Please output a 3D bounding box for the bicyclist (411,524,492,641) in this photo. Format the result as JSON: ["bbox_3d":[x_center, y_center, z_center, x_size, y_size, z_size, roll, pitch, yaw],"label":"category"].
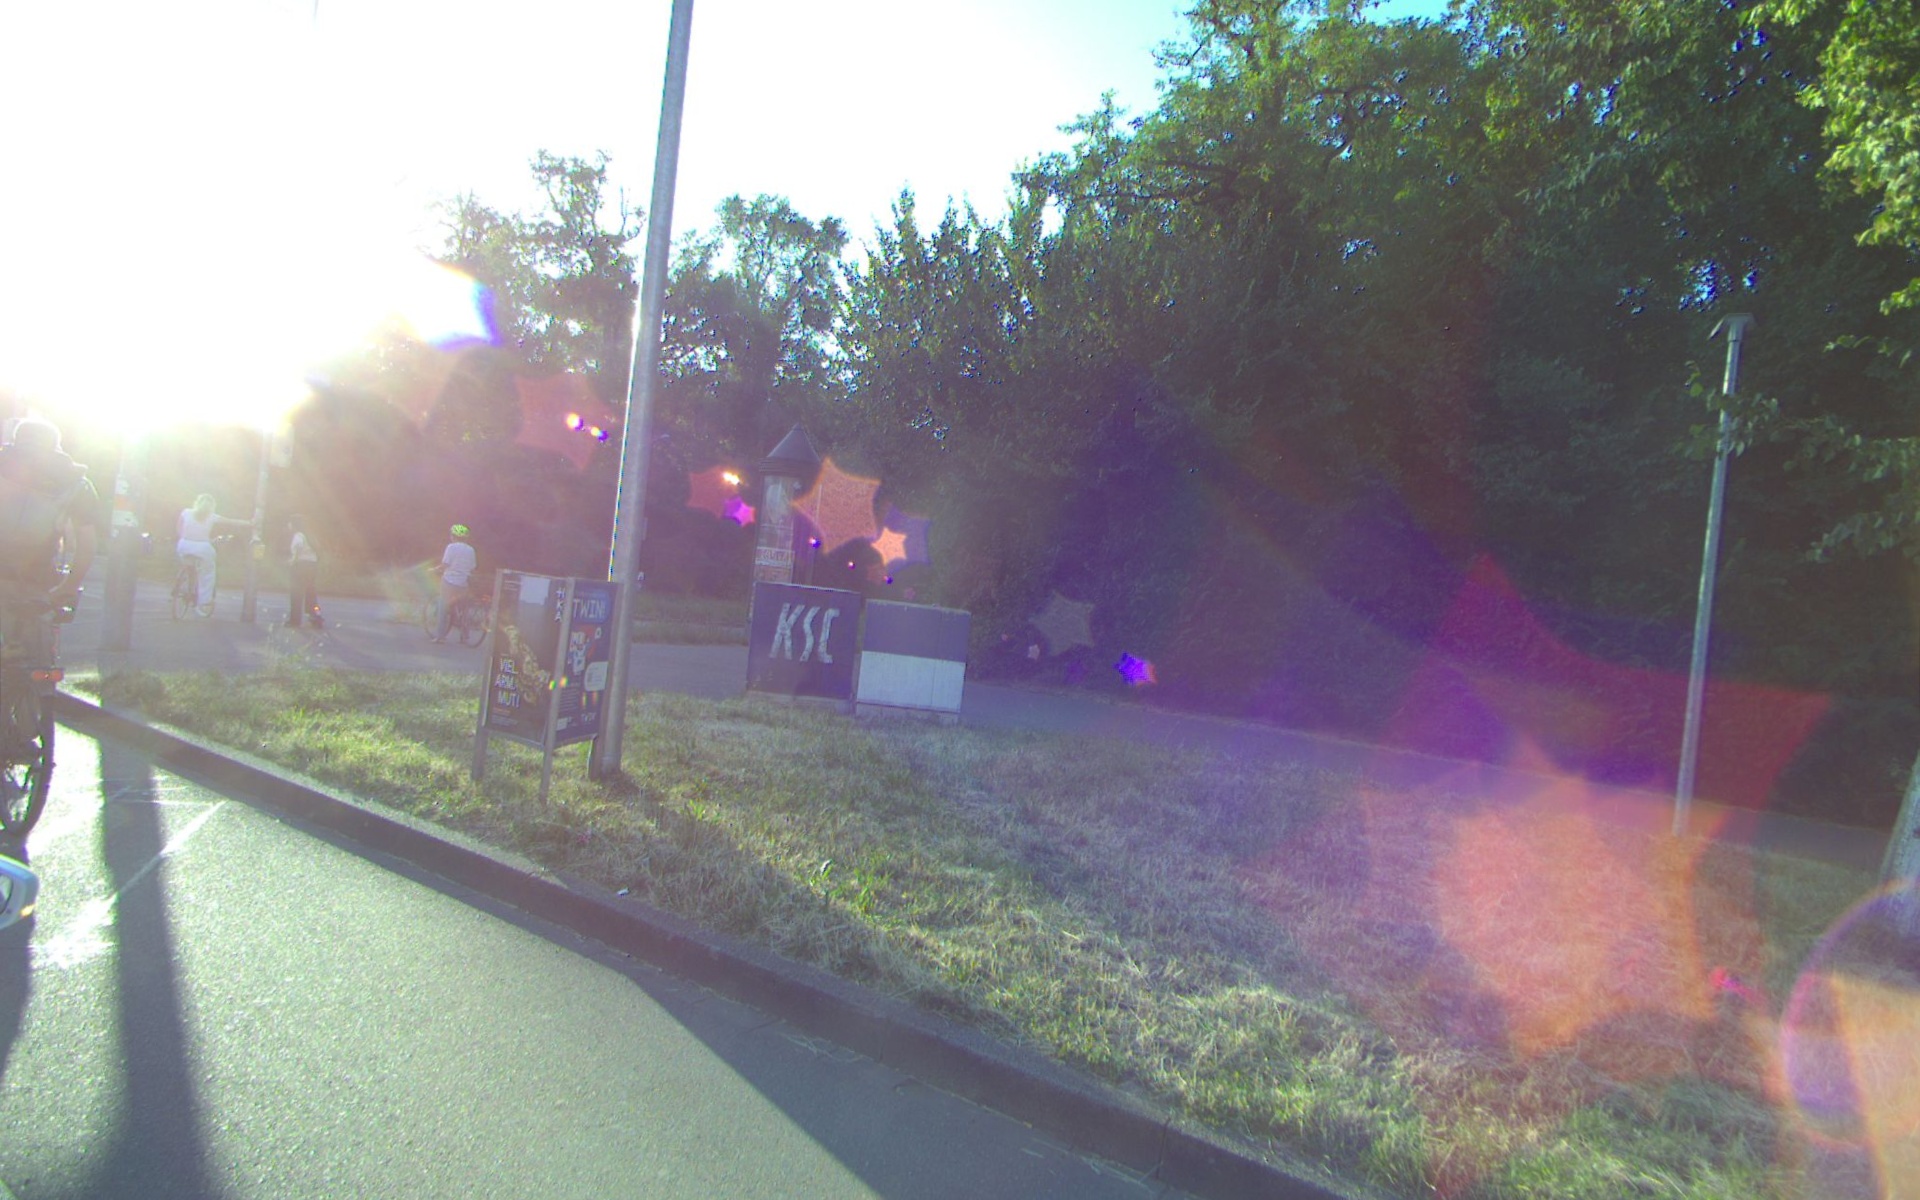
[{"bbox_3d":[-7.413,-0.257,14.666,0.884,1.589,0.554,7,1,34],"label":"bicyclist"}]

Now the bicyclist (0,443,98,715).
[{"bbox_3d":[-6.004,-0.150,6.248,0.895,1.605,0.604,7,0,32],"label":"bicyclist"}]

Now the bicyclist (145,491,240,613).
[{"bbox_3d":[-10.504,-0.646,13.809,0.753,1.536,0.851,7,0,-27],"label":"bicyclist"}]

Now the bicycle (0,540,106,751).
[{"bbox_3d":[-6.202,0.215,6.349,1.853,1.151,0.614,7,0,32],"label":"bicycle"}]

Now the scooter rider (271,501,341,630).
[{"bbox_3d":[-9.511,-0.495,14.638,0.497,1.788,0.566,6,1,33],"label":"scooter rider"}]

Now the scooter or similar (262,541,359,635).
[{"bbox_3d":[-9.406,-0.179,14.552,1.399,1.204,0.562,6,0,33],"label":"scooter or similar"}]

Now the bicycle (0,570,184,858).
[{"bbox_3d":[-4.510,0.446,4.721,1.795,1.075,0.700,7,-1,32],"label":"bicycle"}]

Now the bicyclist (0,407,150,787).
[{"bbox_3d":[-4.533,-0.029,4.773,0.785,1.687,0.699,7,0,32],"label":"bicyclist"}]

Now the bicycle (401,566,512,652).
[{"bbox_3d":[-7.305,0.121,14.570,1.773,1.027,0.564,7,1,34],"label":"bicycle"}]

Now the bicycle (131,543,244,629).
[{"bbox_3d":[-10.577,-0.213,13.852,0.764,1.019,2.003,7,-1,-27],"label":"bicycle"}]
